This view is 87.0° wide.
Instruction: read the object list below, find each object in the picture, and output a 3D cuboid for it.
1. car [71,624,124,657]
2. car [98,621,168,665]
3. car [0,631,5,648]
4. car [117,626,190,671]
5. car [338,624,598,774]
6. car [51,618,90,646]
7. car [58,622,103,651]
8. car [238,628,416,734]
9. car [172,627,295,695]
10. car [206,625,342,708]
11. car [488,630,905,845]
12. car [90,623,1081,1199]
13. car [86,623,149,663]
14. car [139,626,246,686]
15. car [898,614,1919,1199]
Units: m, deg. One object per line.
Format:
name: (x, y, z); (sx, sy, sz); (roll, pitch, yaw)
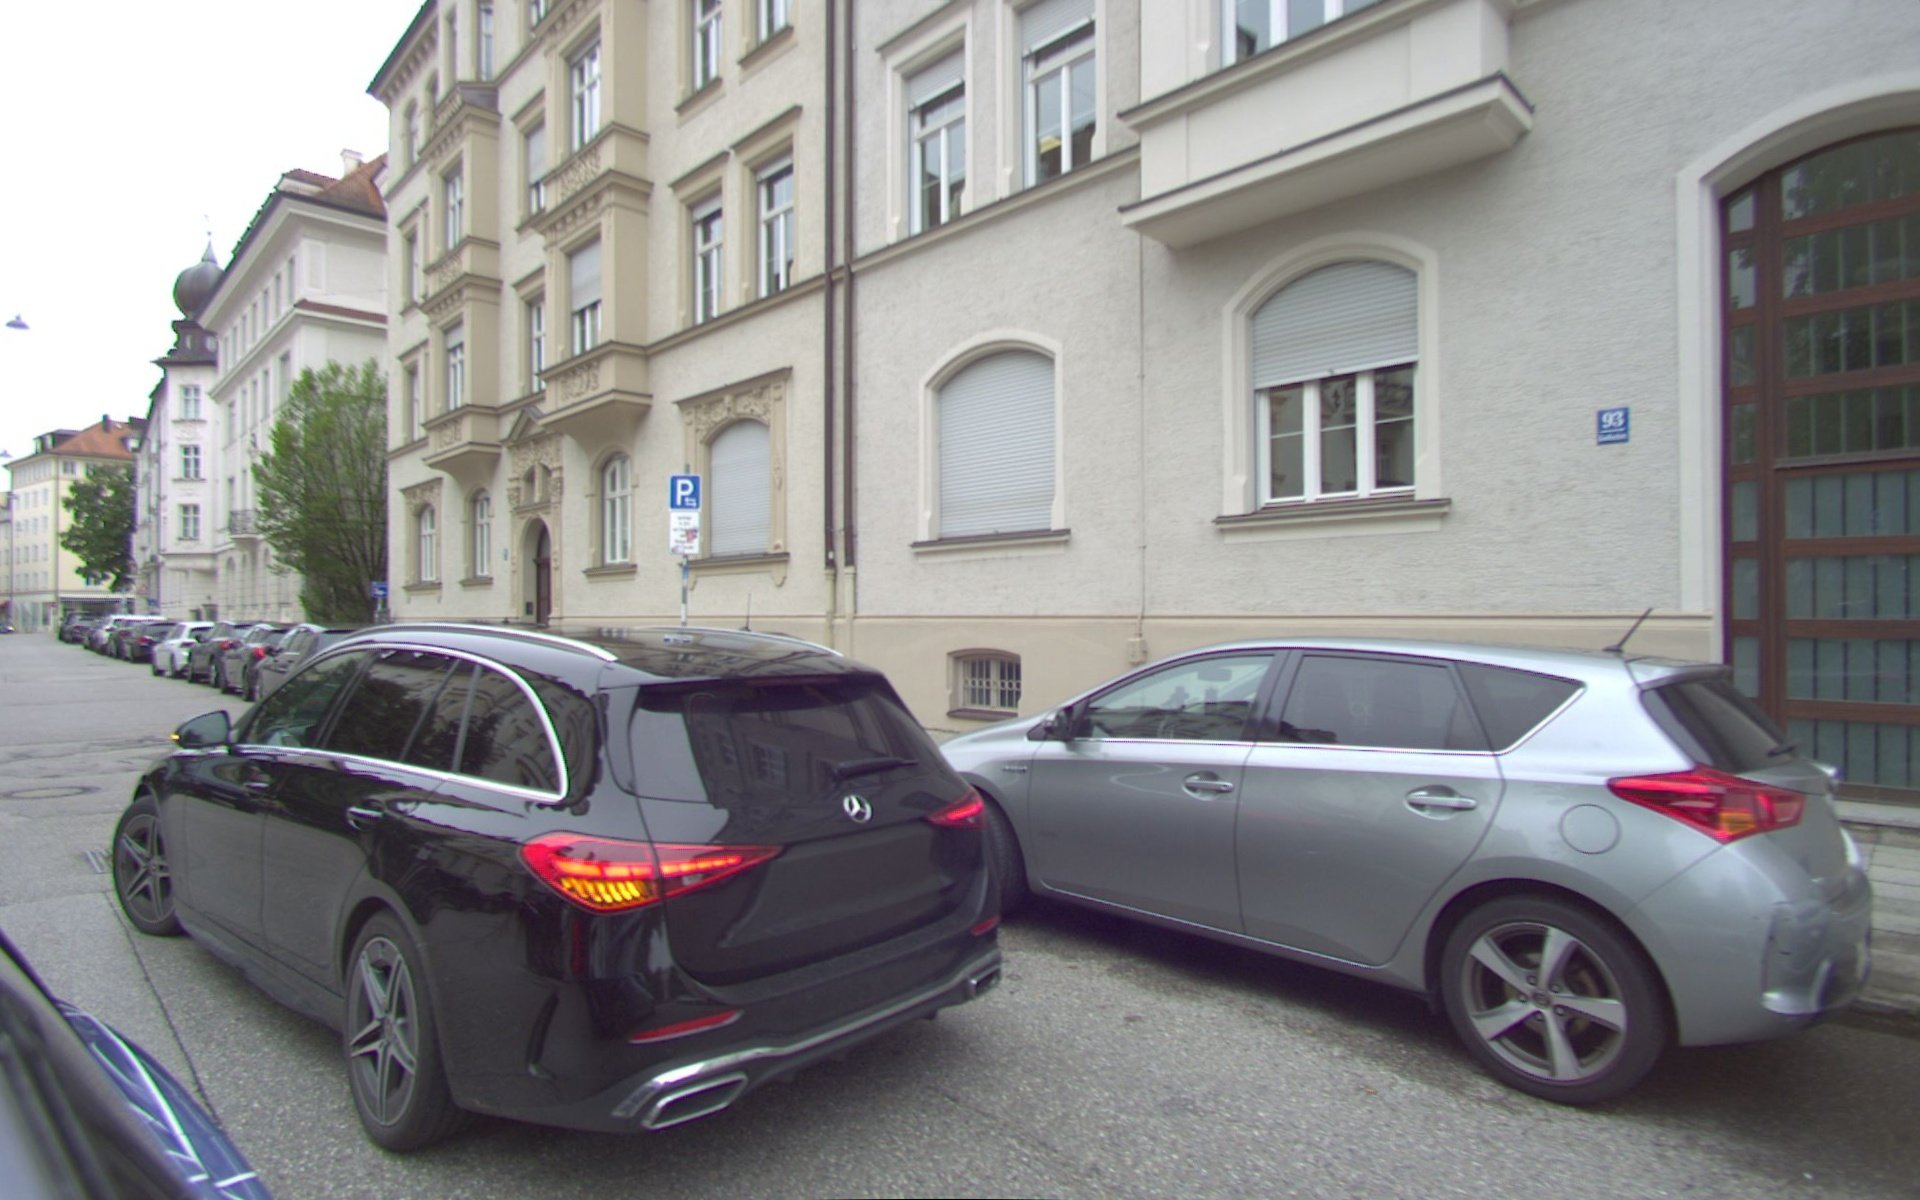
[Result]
car: (-41.457, 1.910, 48.600); (3.922, 1.542, 1.604); (-1, -2, 45)
car: (-30.695, 1.555, 37.530); (3.691, 1.542, 1.604); (-1, -2, 45)
car: (-97.489, 3.944, 101.456); (3.994, 1.663, 1.975); (-1, -1, 38)
car: (-27.269, 1.596, 34.180); (1.603, 1.440, 3.693); (2, -2, -43)
car: (-5.913, 1.028, 11.942); (1.604, 1.467, 3.944); (2, -2, -44)
car: (-57.253, 2.027, 65.118); (3.922, 1.734, 1.604); (-1, -2, 45)
car: (-49.235, 2.021, 56.654); (3.922, 1.542, 1.604); (-1, -2, 45)
car: (-9.998, 1.161, 15.855); (1.603, 1.440, 3.945); (2, -2, -43)
car: (-16.800, 1.354, 23.339); (3.689, 1.440, 1.605); (-1, -2, 43)
car: (-13.282, 1.213, 19.524); (1.603, 1.440, 3.591); (2, -2, -43)
car: (-2.360, 0.949, 8.528); (1.784, 1.373, 3.732); (2, -2, -44)
car: (-1.914, 0.815, 4.059); (4.580, 1.424, 1.769); (-1, -1, 41)
car: (-34.510, 1.726, 41.411); (3.922, 1.542, 1.604); (-1, -2, 45)
car: (-20.087, 1.417, 26.440); (3.689, 1.440, 1.605); (-1, -2, 43)
car: (1.687, 0.826, 4.491); (1.784, 1.475, 3.940); (2, -2, -44)
